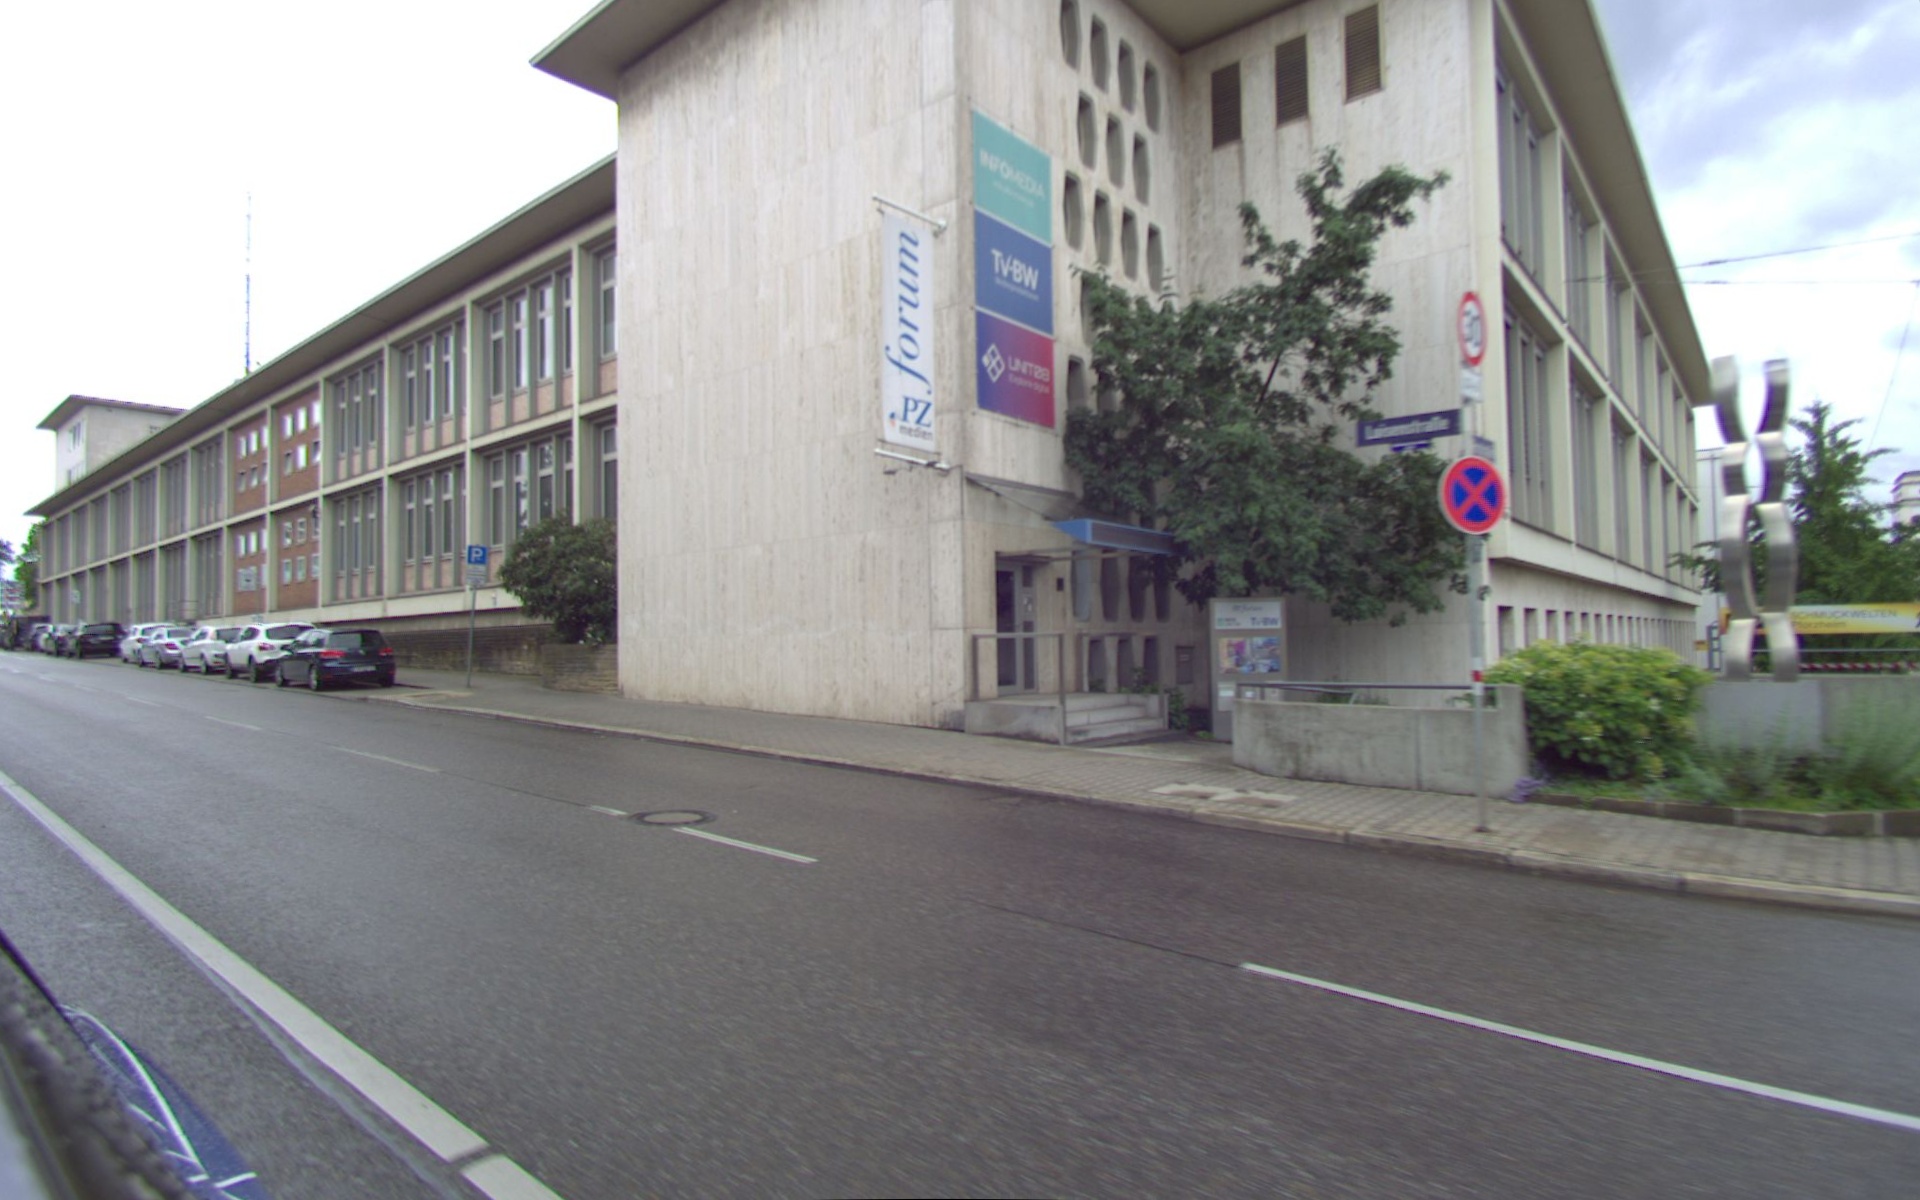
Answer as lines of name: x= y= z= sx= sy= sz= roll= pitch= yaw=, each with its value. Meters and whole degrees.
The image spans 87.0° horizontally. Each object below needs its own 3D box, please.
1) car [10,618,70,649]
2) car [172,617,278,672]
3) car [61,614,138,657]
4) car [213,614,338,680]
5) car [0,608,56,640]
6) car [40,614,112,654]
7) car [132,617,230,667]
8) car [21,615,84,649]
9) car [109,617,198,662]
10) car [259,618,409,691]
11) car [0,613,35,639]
car: x=-50.774 y=1.817 z=55.852 sx=3.998 sy=1.548 sz=1.973 roll=0 pitch=1 yaw=41
car: x=-23.484 y=1.375 z=32.284 sx=3.999 sy=1.523 sz=1.972 roll=0 pitch=1 yaw=42
car: x=-38.289 y=1.540 z=45.010 sx=3.997 sy=1.724 sz=1.973 roll=0 pitch=1 yaw=40
car: x=-19.379 y=1.260 z=28.605 sx=3.998 sy=1.654 sz=1.973 roll=0 pitch=1 yaw=41
car: x=-54.236 y=1.355 z=58.797 sx=3.997 sy=1.659 sz=1.974 roll=1 pitch=3 yaw=40
car: x=-42.066 y=1.576 z=48.138 sx=3.996 sy=1.747 sz=1.974 roll=0 pitch=1 yaw=40
car: x=-27.427 y=1.425 z=35.590 sx=4.184 sy=1.502 sz=1.973 roll=0 pitch=1 yaw=41
car: x=-47.632 y=1.655 z=53.081 sx=3.998 sy=1.590 sz=1.973 roll=0 pitch=1 yaw=41
car: x=-31.588 y=1.490 z=39.620 sx=3.997 sy=1.541 sz=1.973 roll=0 pitch=1 yaw=40
car: x=-15.545 y=1.281 z=25.080 sx=3.996 sy=1.541 sz=1.974 roll=0 pitch=1 yaw=39
car: x=-61.027 y=1.663 z=65.020 sx=3.999 sy=1.543 sz=1.972 roll=0 pitch=1 yaw=42
